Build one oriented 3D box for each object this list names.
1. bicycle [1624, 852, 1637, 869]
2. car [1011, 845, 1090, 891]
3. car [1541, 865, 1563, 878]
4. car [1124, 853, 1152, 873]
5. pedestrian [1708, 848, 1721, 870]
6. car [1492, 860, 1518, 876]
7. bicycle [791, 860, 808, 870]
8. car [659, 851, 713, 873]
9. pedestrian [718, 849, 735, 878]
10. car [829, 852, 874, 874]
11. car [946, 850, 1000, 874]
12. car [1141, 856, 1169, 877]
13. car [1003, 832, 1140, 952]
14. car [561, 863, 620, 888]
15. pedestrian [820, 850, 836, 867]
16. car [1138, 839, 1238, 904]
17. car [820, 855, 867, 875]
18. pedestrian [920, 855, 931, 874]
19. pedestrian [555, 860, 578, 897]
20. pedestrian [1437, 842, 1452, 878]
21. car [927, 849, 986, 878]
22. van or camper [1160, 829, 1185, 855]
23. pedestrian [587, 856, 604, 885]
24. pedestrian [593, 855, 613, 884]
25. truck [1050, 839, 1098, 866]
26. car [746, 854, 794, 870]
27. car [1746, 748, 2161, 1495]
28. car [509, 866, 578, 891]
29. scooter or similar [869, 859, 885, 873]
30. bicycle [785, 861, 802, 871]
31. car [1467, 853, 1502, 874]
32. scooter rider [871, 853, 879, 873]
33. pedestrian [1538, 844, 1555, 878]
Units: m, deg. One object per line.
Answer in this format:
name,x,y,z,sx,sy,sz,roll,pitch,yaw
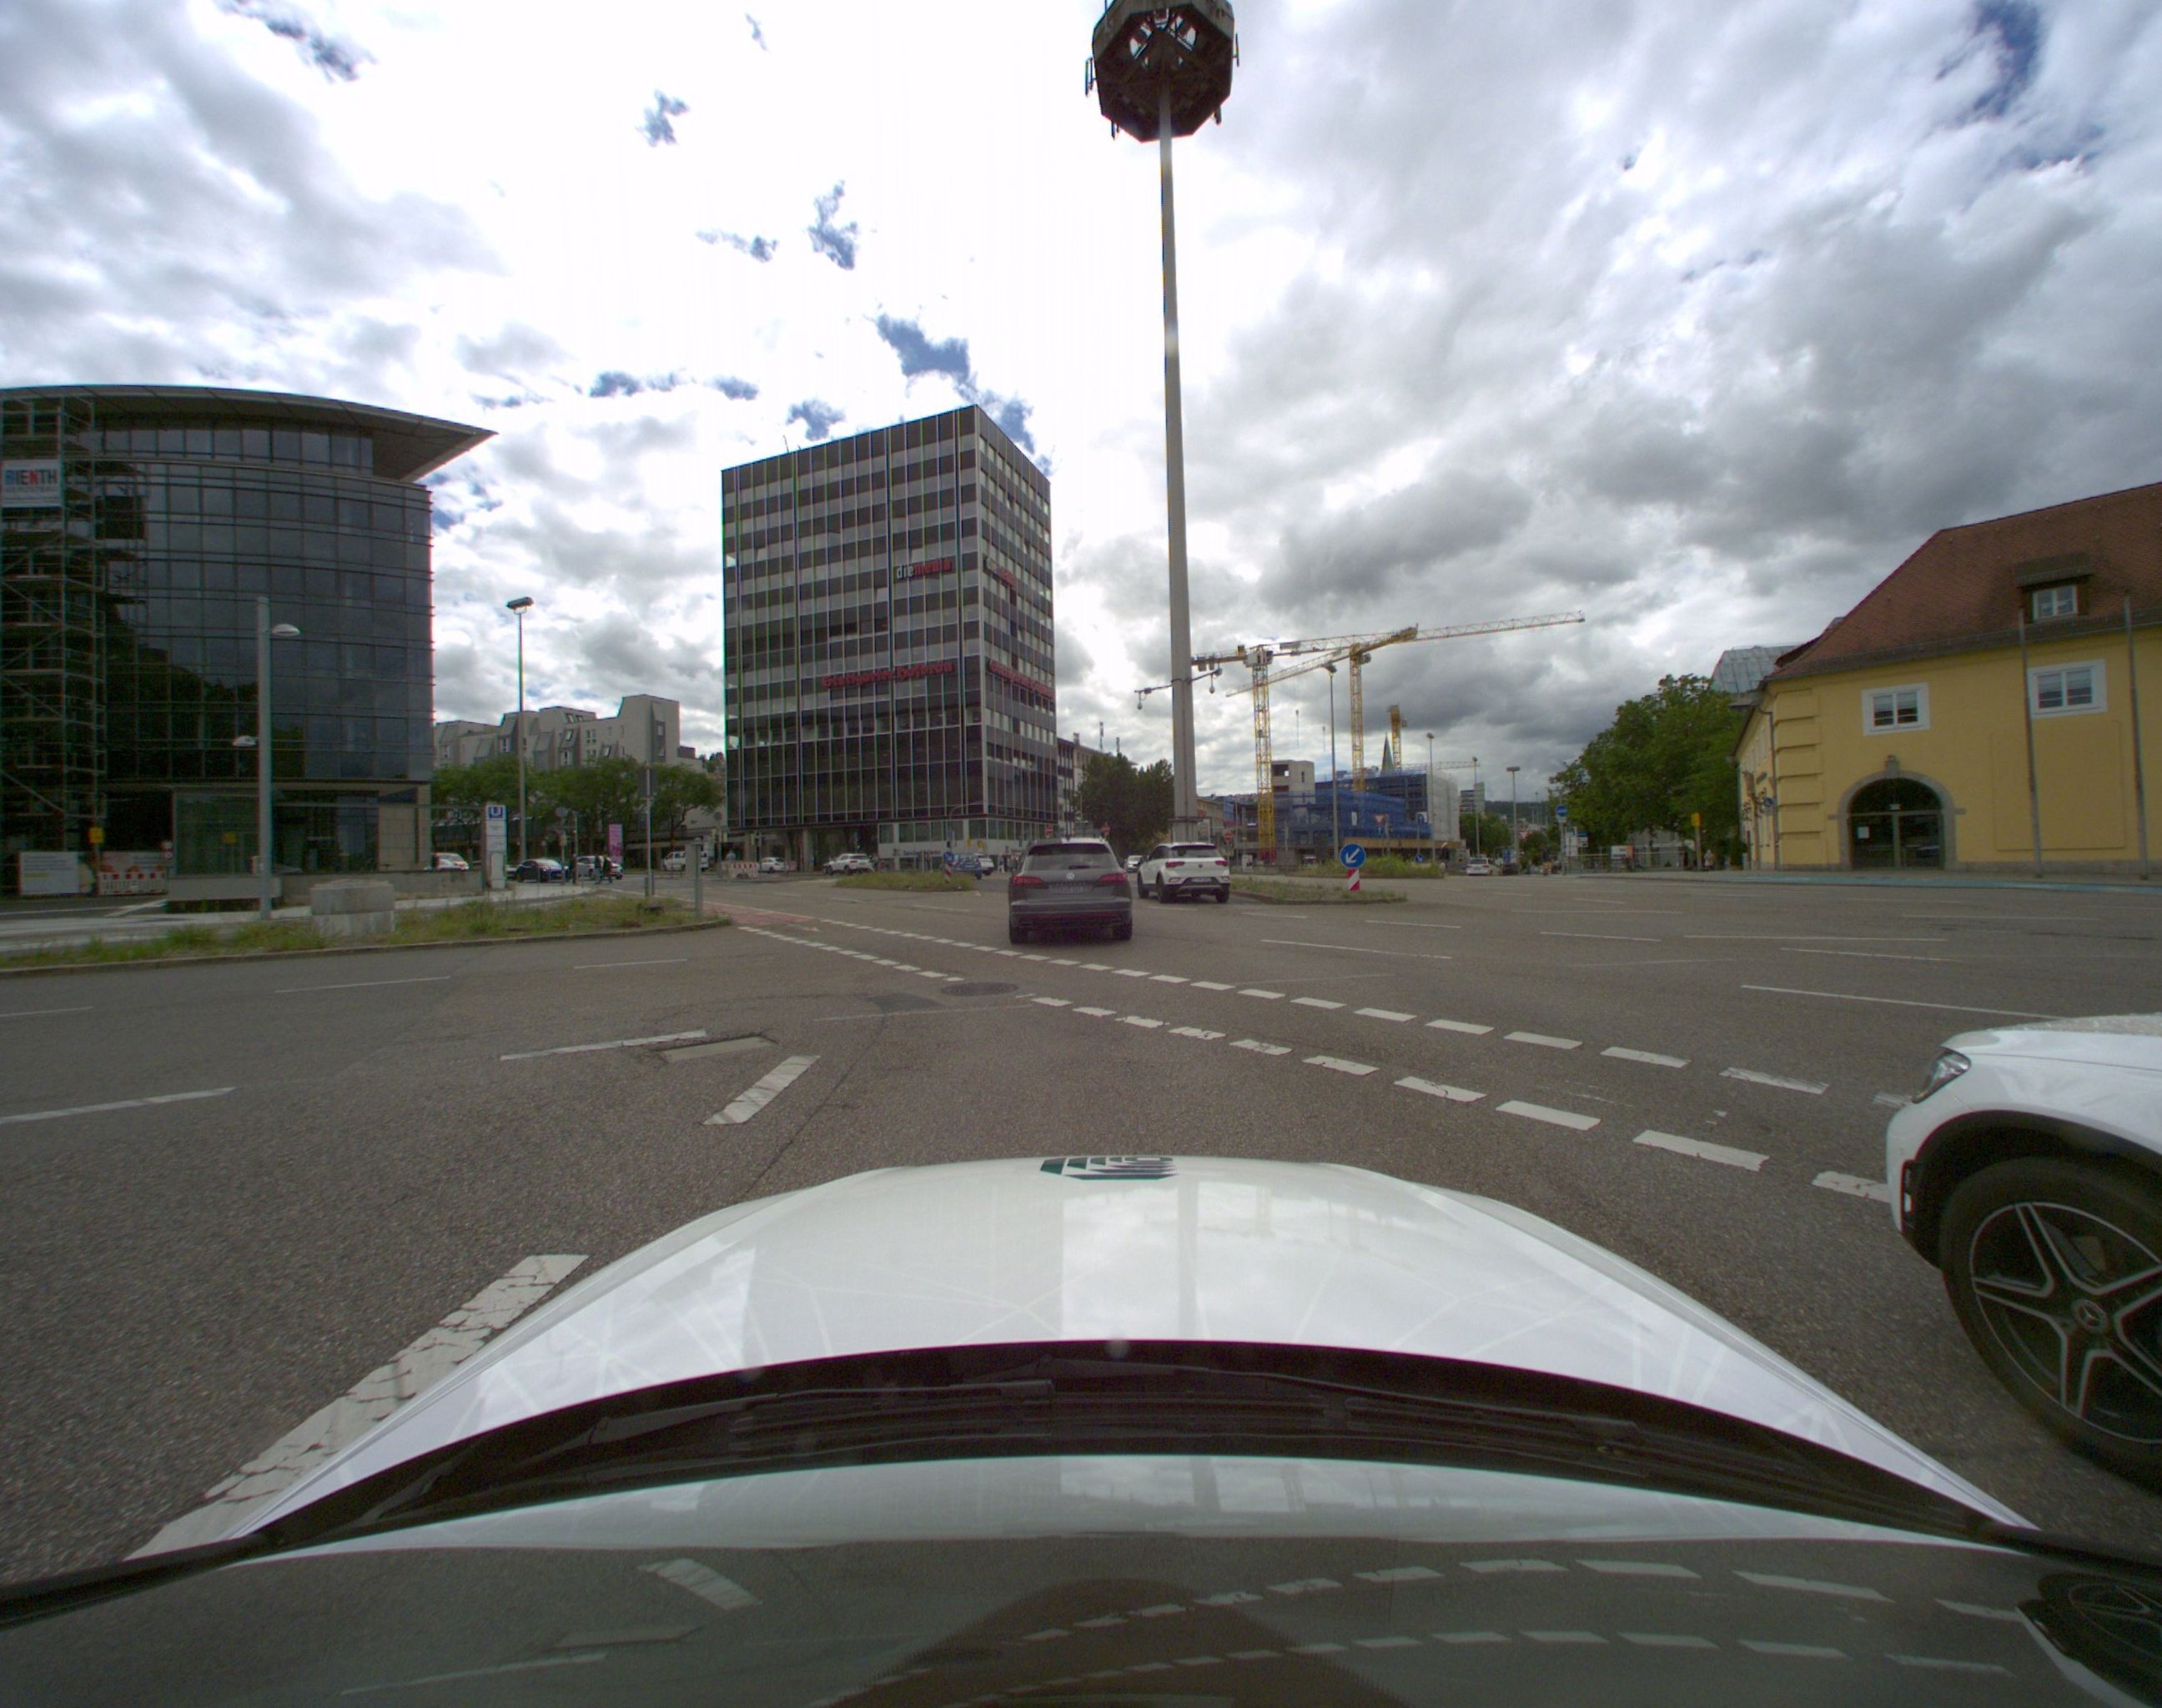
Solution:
bicycle,35.253,0.412,52.220,0.613,1.086,1.783,-1,-1,36
car,-0.953,0.453,27.607,1.822,1.395,4.158,1,0,10
car,66.753,2.469,115.348,1.974,1.634,4.025,-1,1,40
car,4.540,0.742,65.679,1.987,1.504,5.040,0,-1,1
pedestrian,42.044,0.334,54.065,0.619,1.450,0.727,-1,0,42
car,46.465,1.498,89.282,1.974,1.634,4.026,-1,1,35
bicycle,-29.173,1.171,84.396,1.474,1.048,0.715,0,-1,5
car,-36.701,0.745,75.659,4.810,1.874,1.849,-1,0,26
pedestrian,-22.606,0.574,51.976,0.626,1.790,0.722,1,3,26
car,-17.194,0.633,61.004,1.848,1.567,3.723,-1,0,-40
car,-7.178,0.526,53.777,1.847,1.517,3.723,-1,0,-39
car,5.014,0.850,55.540,1.664,1.264,4.059,-2,1,2
car,-0.234,0.519,13.934,1.966,1.695,4.220,-1,1,-3
car,-33.335,1.425,55.343,4.263,1.598,1.751,-1,0,34
pedestrian,-24.554,0.459,79.118,0.952,1.633,1.072,-1,1,20
car,2.741,0.403,21.758,1.795,1.545,3.927,-1,1,-6
car,-19.595,0.888,67.150,3.949,1.574,1.878,-1,1,41
pedestrian,-14.040,0.941,73.621,0.792,1.697,0.551,-1,1,20
pedestrian,-30.557,1.451,48.391,0.756,2.172,0.881,-1,0,8
pedestrian,19.387,0.292,43.439,0.552,1.895,0.641,-2,0,15
car,-7.020,0.503,45.656,1.846,1.517,3.726,-1,0,-35
van or camper,9.261,-1.229,82.299,2.127,2.477,6.179,-1,1,10
pedestrian,-28.756,0.998,48.240,0.624,1.700,0.648,-1,0,31
pedestrian,-28.122,0.909,47.917,0.624,1.700,0.774,-1,0,31
truck,-0.752,-0.095,98.197,2.316,3.064,8.247,-1,-1,26
car,-28.592,0.753,74.909,4.277,1.418,2.076,-1,1,36
car,3.242,0.587,0.747,1.795,1.646,4.335,-1,1,1
car,-34.891,1.585,52.865,4.039,1.525,2.012,-1,0,28
scooter or similar,-18.526,1.079,73.928,1.322,1.176,0.590,-2,0,-15
bicycle,-29.548,1.249,83.647,1.474,1.048,0.715,0,-1,5
car,32.444,0.774,65.484,1.855,1.602,4.025,-1,-2,37
scooter rider,-18.655,0.792,73.891,0.642,1.808,0.590,-2,0,-15
pedestrian,25.483,0.384,44.599,0.743,1.789,0.833,-1,2,34
